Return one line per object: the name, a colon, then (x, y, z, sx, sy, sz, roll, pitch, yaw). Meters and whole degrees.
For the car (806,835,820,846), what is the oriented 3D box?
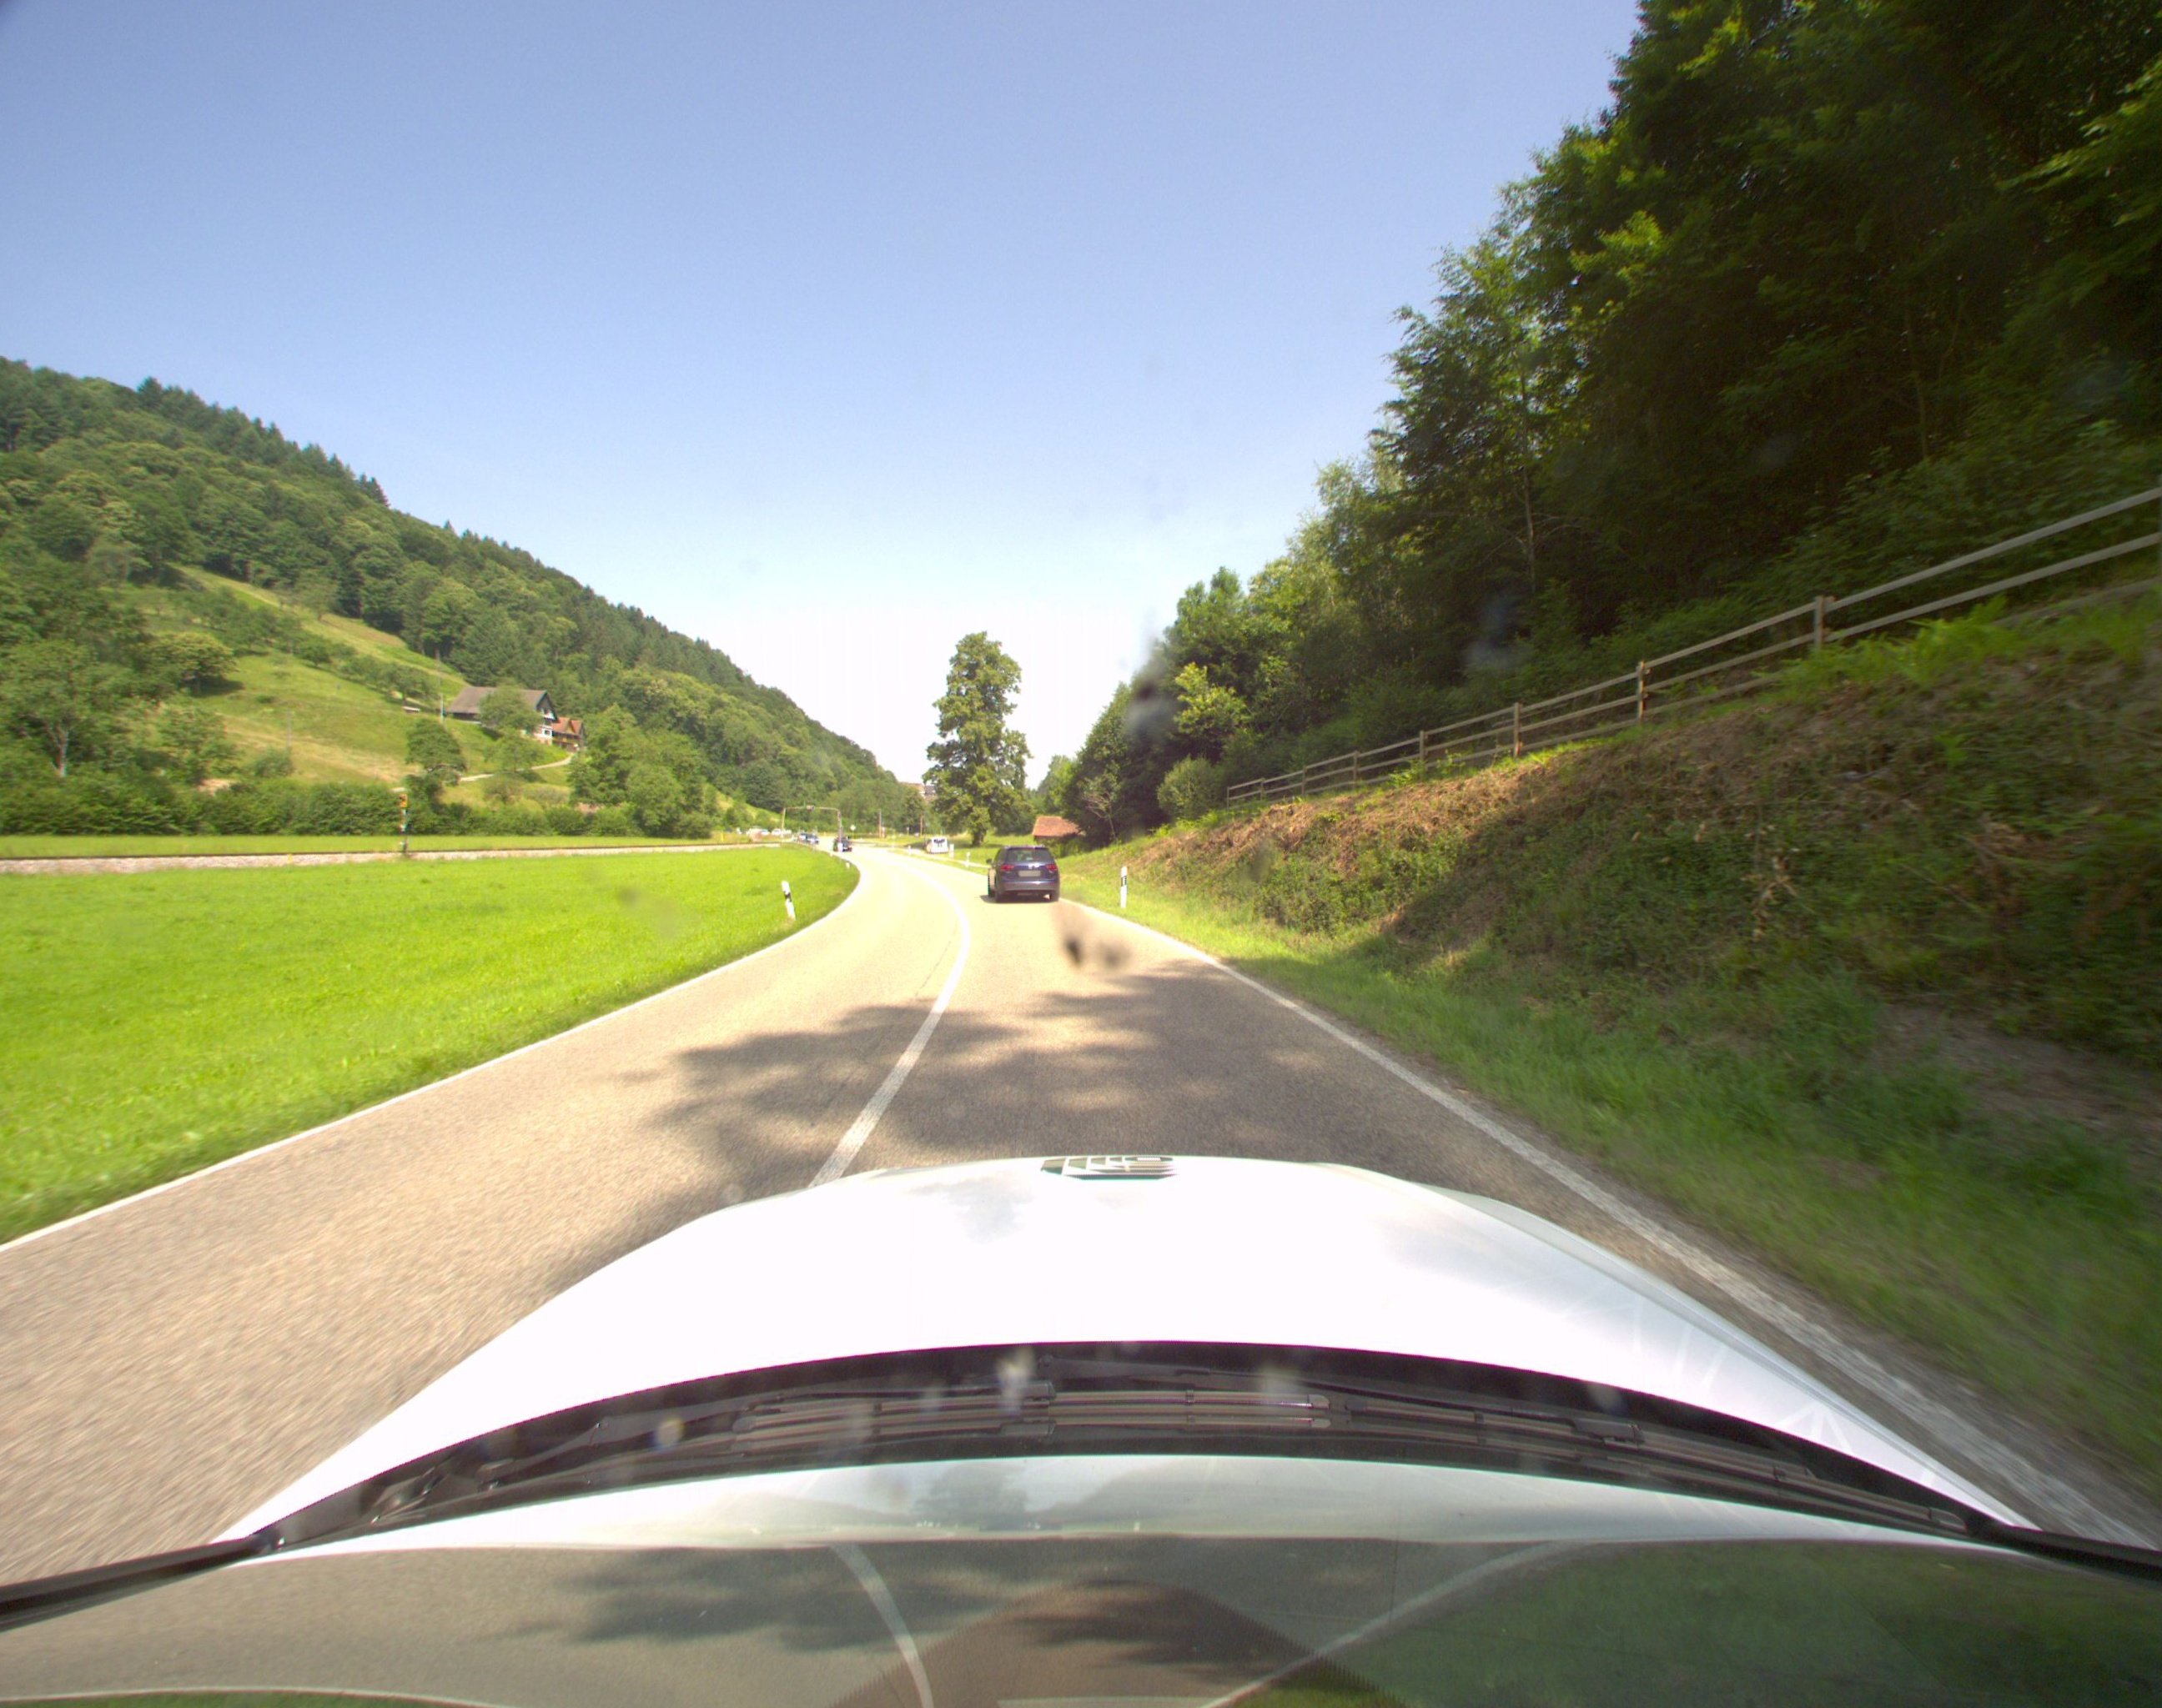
car: (-41.623, -2.176, 126.445, 1.871, 1.623, 4.482, -1, 2, -19)

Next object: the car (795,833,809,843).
car: (-47.636, -2.734, 139.138, 1.923, 1.714, 4.128, 1, 1, -23)

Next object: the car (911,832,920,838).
car: (-51.937, -5.847, 255.428, 1.798, 1.618, 3.998, 1, -1, -1)

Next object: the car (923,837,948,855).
car: (-17.168, -0.943, 96.141, 2.006, 1.848, 4.837, -5, 3, -19)

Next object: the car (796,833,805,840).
car: (-64.595, -4.026, 187.395, 1.831, 1.500, 4.250, 0, 1, -19)

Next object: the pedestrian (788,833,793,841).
pedestrian: (-65.086, -3.827, 182.321, 0.641, 1.858, 0.775, 1, 1, 24)

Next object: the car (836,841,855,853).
car: (-29.045, -0.884, 100.386, 1.923, 1.470, 4.481, 0, 1, -20)

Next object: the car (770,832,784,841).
car: (-70.144, -4.039, 187.784, 1.869, 1.782, 4.762, 2, 1, -6)

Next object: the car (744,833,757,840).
car: (-75.378, -3.992, 185.799, 1.995, 1.500, 4.504, 0, 1, -11)

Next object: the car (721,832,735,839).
car: (-80.392, -4.228, 185.331, 1.995, 1.500, 4.504, 0, 1, -11)

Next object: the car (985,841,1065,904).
car: (-1.755, 0.482, 24.286, 1.854, 1.649, 4.124, -1, 1, -11)

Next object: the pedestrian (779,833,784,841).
pedestrian: (-66.427, -3.839, 180.667, 0.786, 1.842, 0.698, 0, 1, -2)
